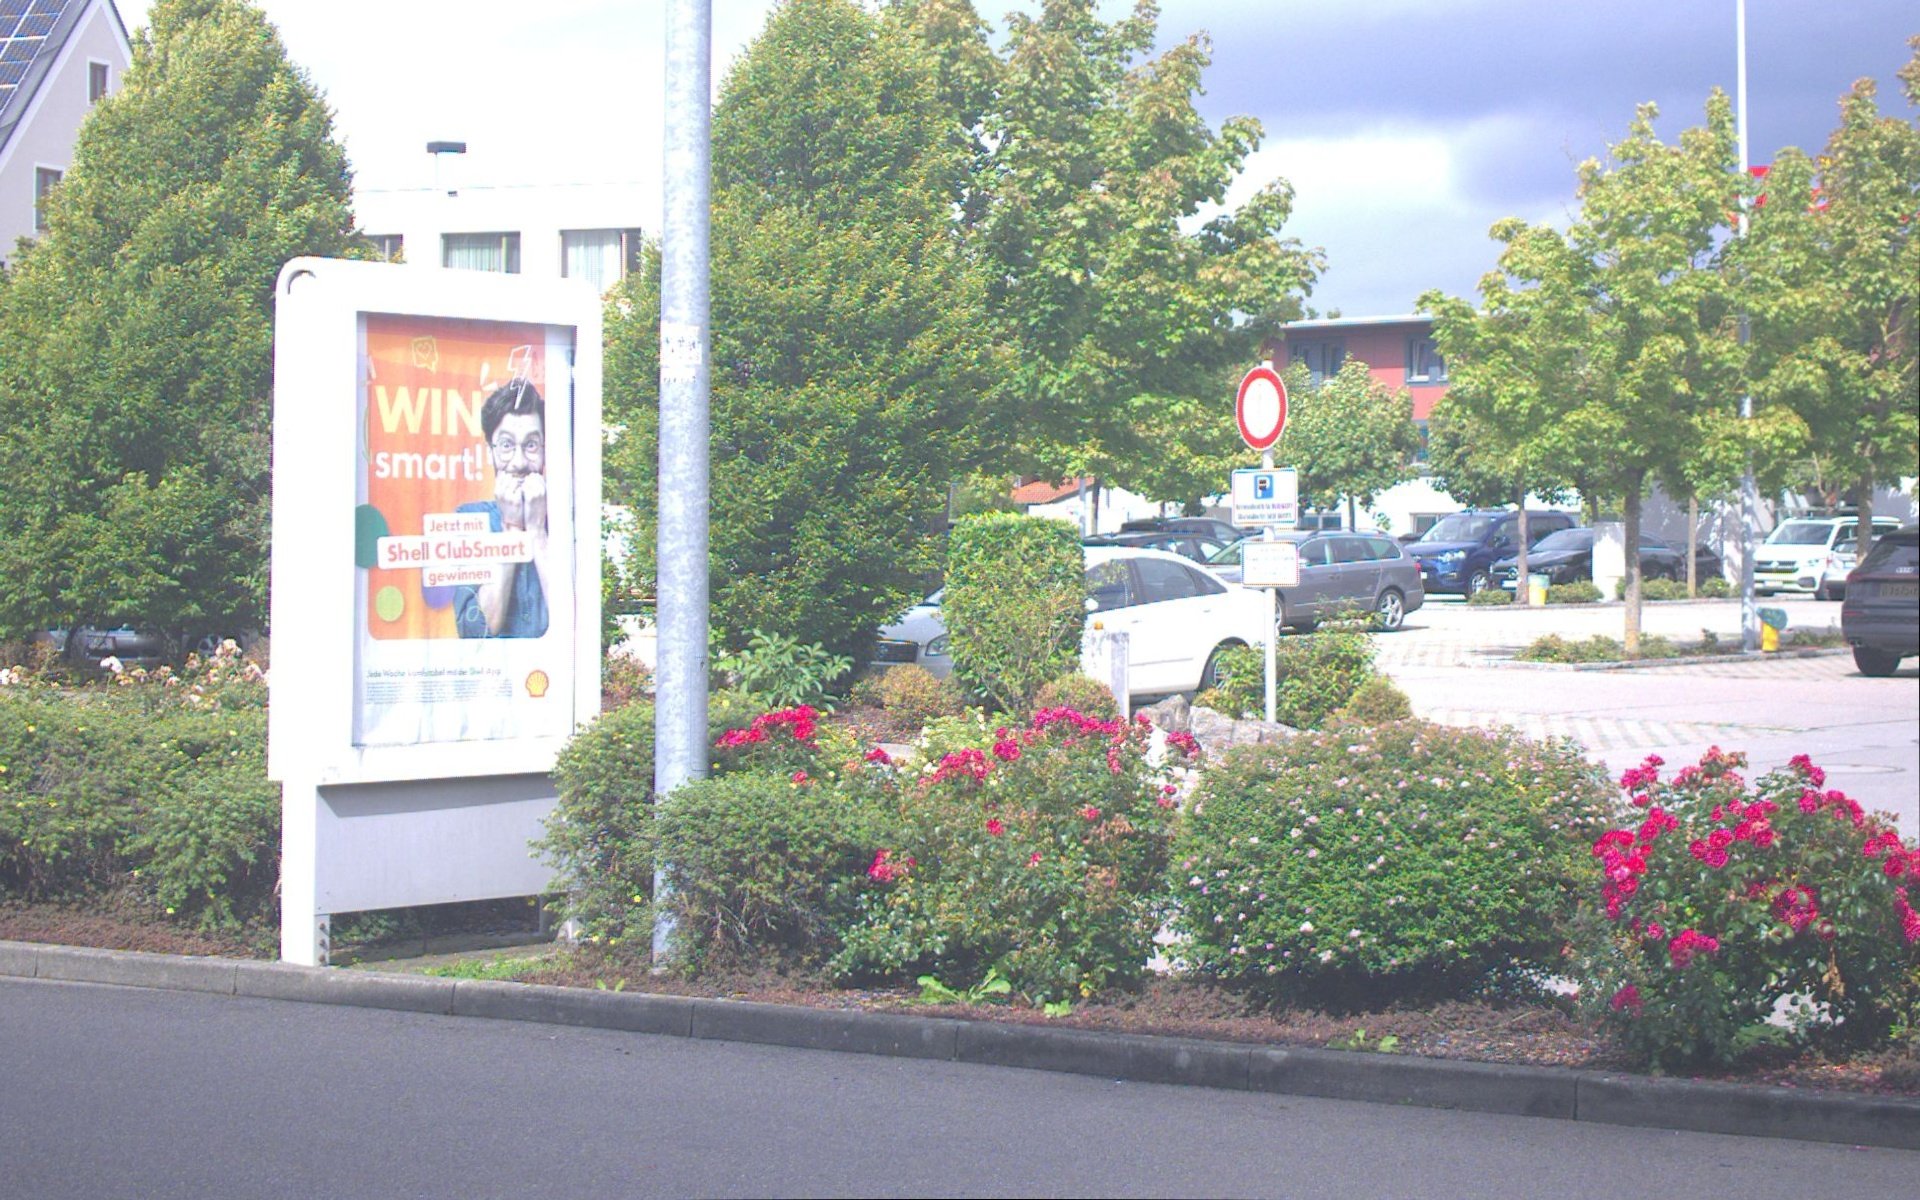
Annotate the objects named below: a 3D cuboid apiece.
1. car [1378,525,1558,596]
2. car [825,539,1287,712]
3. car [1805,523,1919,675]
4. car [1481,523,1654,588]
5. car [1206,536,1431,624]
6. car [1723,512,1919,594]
[{"bbox_3d":[9.884,-0.761,66.792,3.379,1.316,1.747,0,1,-44],"label":"car"},{"bbox_3d":[0.902,0.205,29.936,4.332,1.399,1.370,0,1,-44],"label":"car"},{"bbox_3d":[11.131,-0.008,36.739,4.491,1.543,1.885,0,1,-43],"label":"car"},{"bbox_3d":[11.513,-0.842,65.044,3.409,1.174,1.485,0,1,-44],"label":"car"},{"bbox_3d":[5.200,-0.290,49.725,3.218,1.224,1.505,0,1,-44],"label":"car"},{"bbox_3d":[20.245,-1.091,80.650,4.864,1.827,2.184,0,1,-43],"label":"car"}]
